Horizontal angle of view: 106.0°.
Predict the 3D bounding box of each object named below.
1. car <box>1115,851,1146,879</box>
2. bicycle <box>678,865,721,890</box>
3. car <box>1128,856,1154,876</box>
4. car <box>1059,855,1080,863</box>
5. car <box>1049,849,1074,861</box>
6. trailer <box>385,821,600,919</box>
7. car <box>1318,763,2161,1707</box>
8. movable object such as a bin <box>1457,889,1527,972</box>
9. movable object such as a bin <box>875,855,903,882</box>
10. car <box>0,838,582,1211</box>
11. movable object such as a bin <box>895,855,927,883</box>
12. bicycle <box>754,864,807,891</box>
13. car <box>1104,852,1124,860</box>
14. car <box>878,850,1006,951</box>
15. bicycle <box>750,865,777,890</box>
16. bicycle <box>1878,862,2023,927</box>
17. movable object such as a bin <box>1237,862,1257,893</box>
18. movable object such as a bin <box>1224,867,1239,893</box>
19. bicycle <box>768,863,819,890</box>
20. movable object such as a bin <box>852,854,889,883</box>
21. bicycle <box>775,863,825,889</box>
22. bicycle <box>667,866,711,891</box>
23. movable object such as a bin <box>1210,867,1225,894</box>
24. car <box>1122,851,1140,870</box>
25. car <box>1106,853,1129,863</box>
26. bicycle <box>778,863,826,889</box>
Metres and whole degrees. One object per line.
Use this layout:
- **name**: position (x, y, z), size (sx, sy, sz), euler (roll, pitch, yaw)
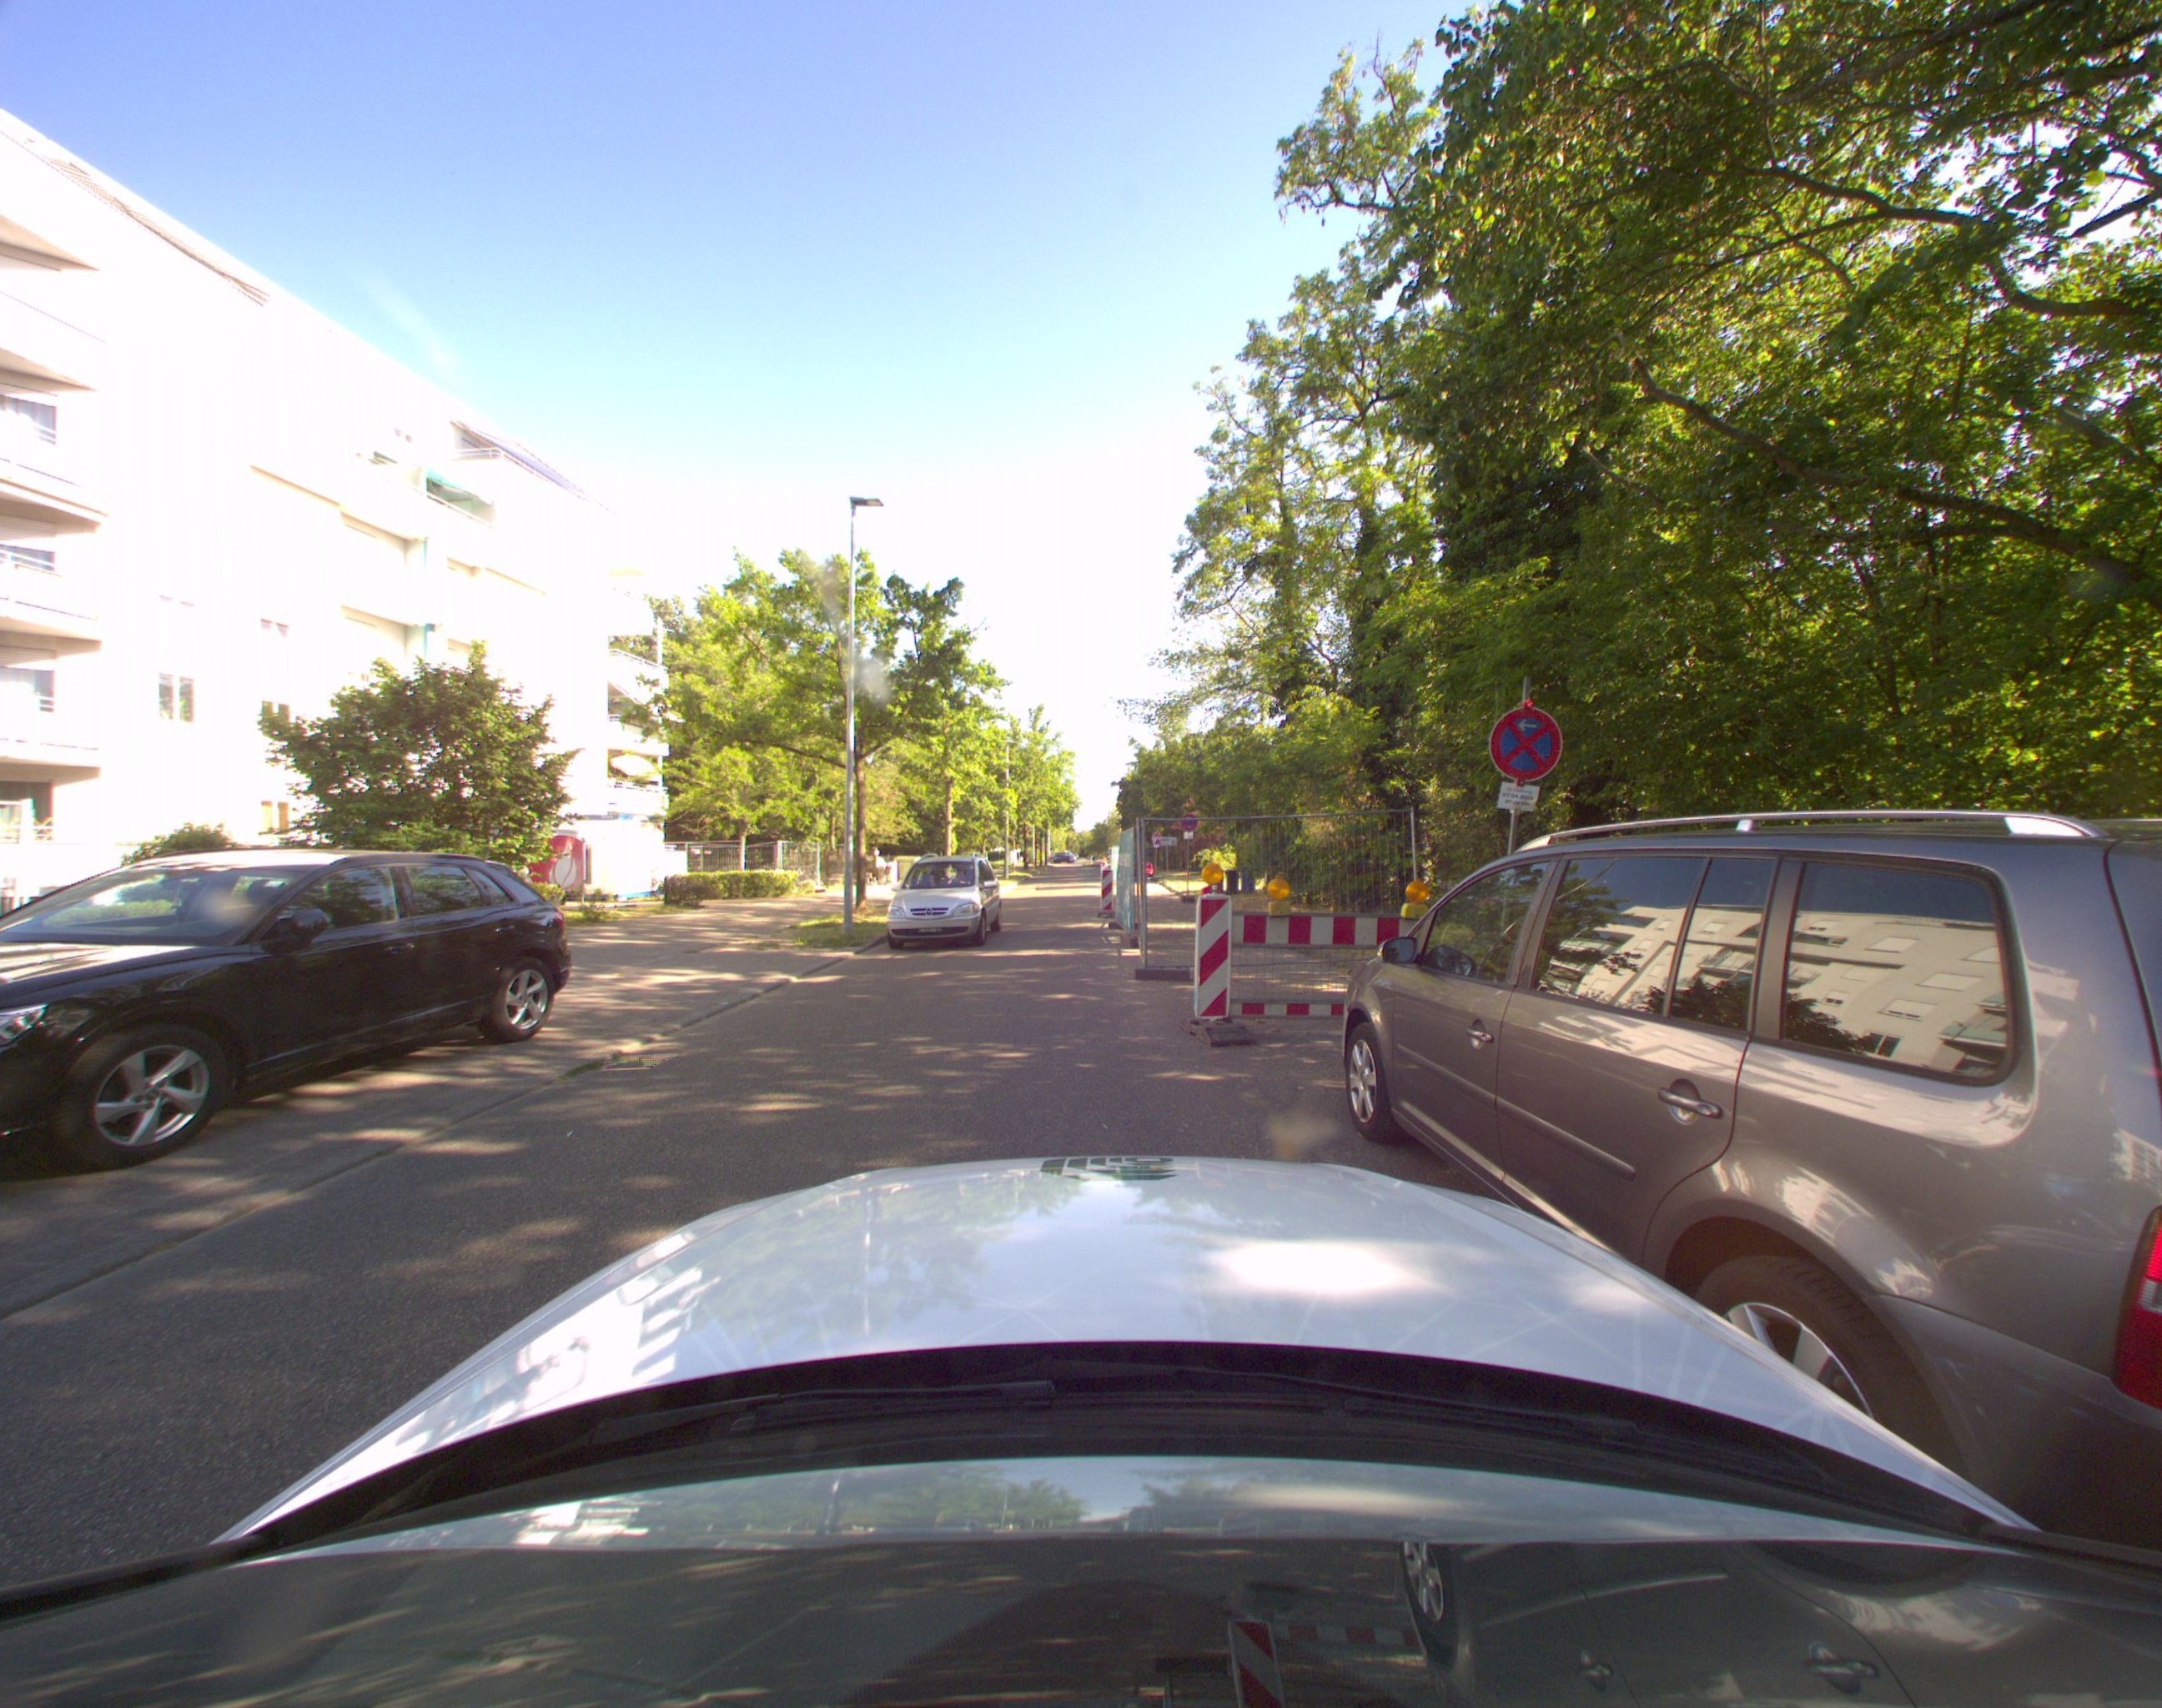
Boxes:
- **car**: position (3.201, 0.689, 51.603), size (1.801, 1.651, 4.427), euler (1, 0, 5)
- **bicycle**: position (-16.301, 1.015, 34.788), size (1.686, 1.027, 0.401), euler (-1, -1, 6)
- **car**: position (4.256, 0.834, 58.285), size (1.655, 1.375, 4.155), euler (1, 0, 1)
- **car**: position (-2.386, 0.950, 164.345), size (4.090, 1.576, 1.960), euler (1, 0, 3)
- **car**: position (-4.151, 0.231, 173.313), size (5.189, 2.621, 2.290), euler (1, 0, -4)
- **trailer**: position (-14.234, 0.351, 20.084), size (1.855, 2.120, 4.351), euler (1, 0, 5)
- **car**: position (2.332, 0.688, 3.119), size (1.673, 1.621, 4.137), euler (0, 0, 0)
- **movable object such as a bin**: position (4.502, 0.823, 8.942), size (0.482, 0.861, 0.559), euler (0, 0, -2)
- **movable object such as a bin**: position (-10.595, 0.773, 44.985), size (1.149, 1.435, 1.260), euler (-1, 0, -33)
- **car**: position (-5.567, 0.733, 5.437), size (1.769, 1.621, 4.221), euler (1, 0, 1)
- **movable object such as a bin**: position (-9.022, 0.800, 43.258), size (1.259, 1.435, 1.187), euler (-1, 0, 17)
- **bicycle**: position (-11.563, 0.904, 31.405), size (1.870, 1.027, 0.399), euler (-1, -1, -12)
- **car**: position (6.844, 0.476, 168.868), size (3.817, 1.576, 1.692), euler (1, 0, 7)
- **car**: position (-2.517, 0.782, 15.660), size (1.654, 1.596, 4.008), euler (-3, 0, 0)
- **bicycle**: position (-13.713, 1.010, 35.170), size (0.397, 1.027, 1.702), euler (-1, -1, 3)
- **bicycle**: position (15.167, 0.678, 14.281), size (0.629, 1.040, 1.785), euler (0, 0, 0)
- **movable object such as a bin**: position (5.630, 0.792, 27.601), size (0.517, 0.999, 0.608), euler (-2, -1, 1)
- **movable object such as a bin**: position (5.119, 0.880, 27.709), size (0.411, 0.870, 0.484), euler (-2, -1, 1)
- **bicycle**: position (-11.409, 0.888, 32.346), size (1.856, 1.027, 0.399), euler (-1, -1, -12)
- **movable object such as a bin**: position (-10.861, 0.760, 42.134), size (1.257, 1.435, 1.334), euler (-1, 0, 29)
- **bicycle**: position (-11.472, 0.901, 33.292), size (1.860, 1.027, 0.399), euler (-1, -1, -12)
- **bicycle**: position (-16.423, 1.015, 34.113), size (1.686, 1.027, 0.401), euler (-1, -1, 6)
- **movable object such as a bin**: position (4.628, 0.901, 27.624), size (0.411, 0.870, 0.484), euler (-2, -1, 1)
- **car**: position (5.064, 0.652, 82.853), size (1.617, 1.773, 3.670), euler (1, 0, 1)
- **car**: position (6.436, 0.697, 143.430), size (3.817, 1.576, 1.692), euler (1, 0, 7)
- **bicycle**: position (-11.538, 0.903, 33.714), size (1.839, 1.027, 0.399), euler (-1, -1, -12)
